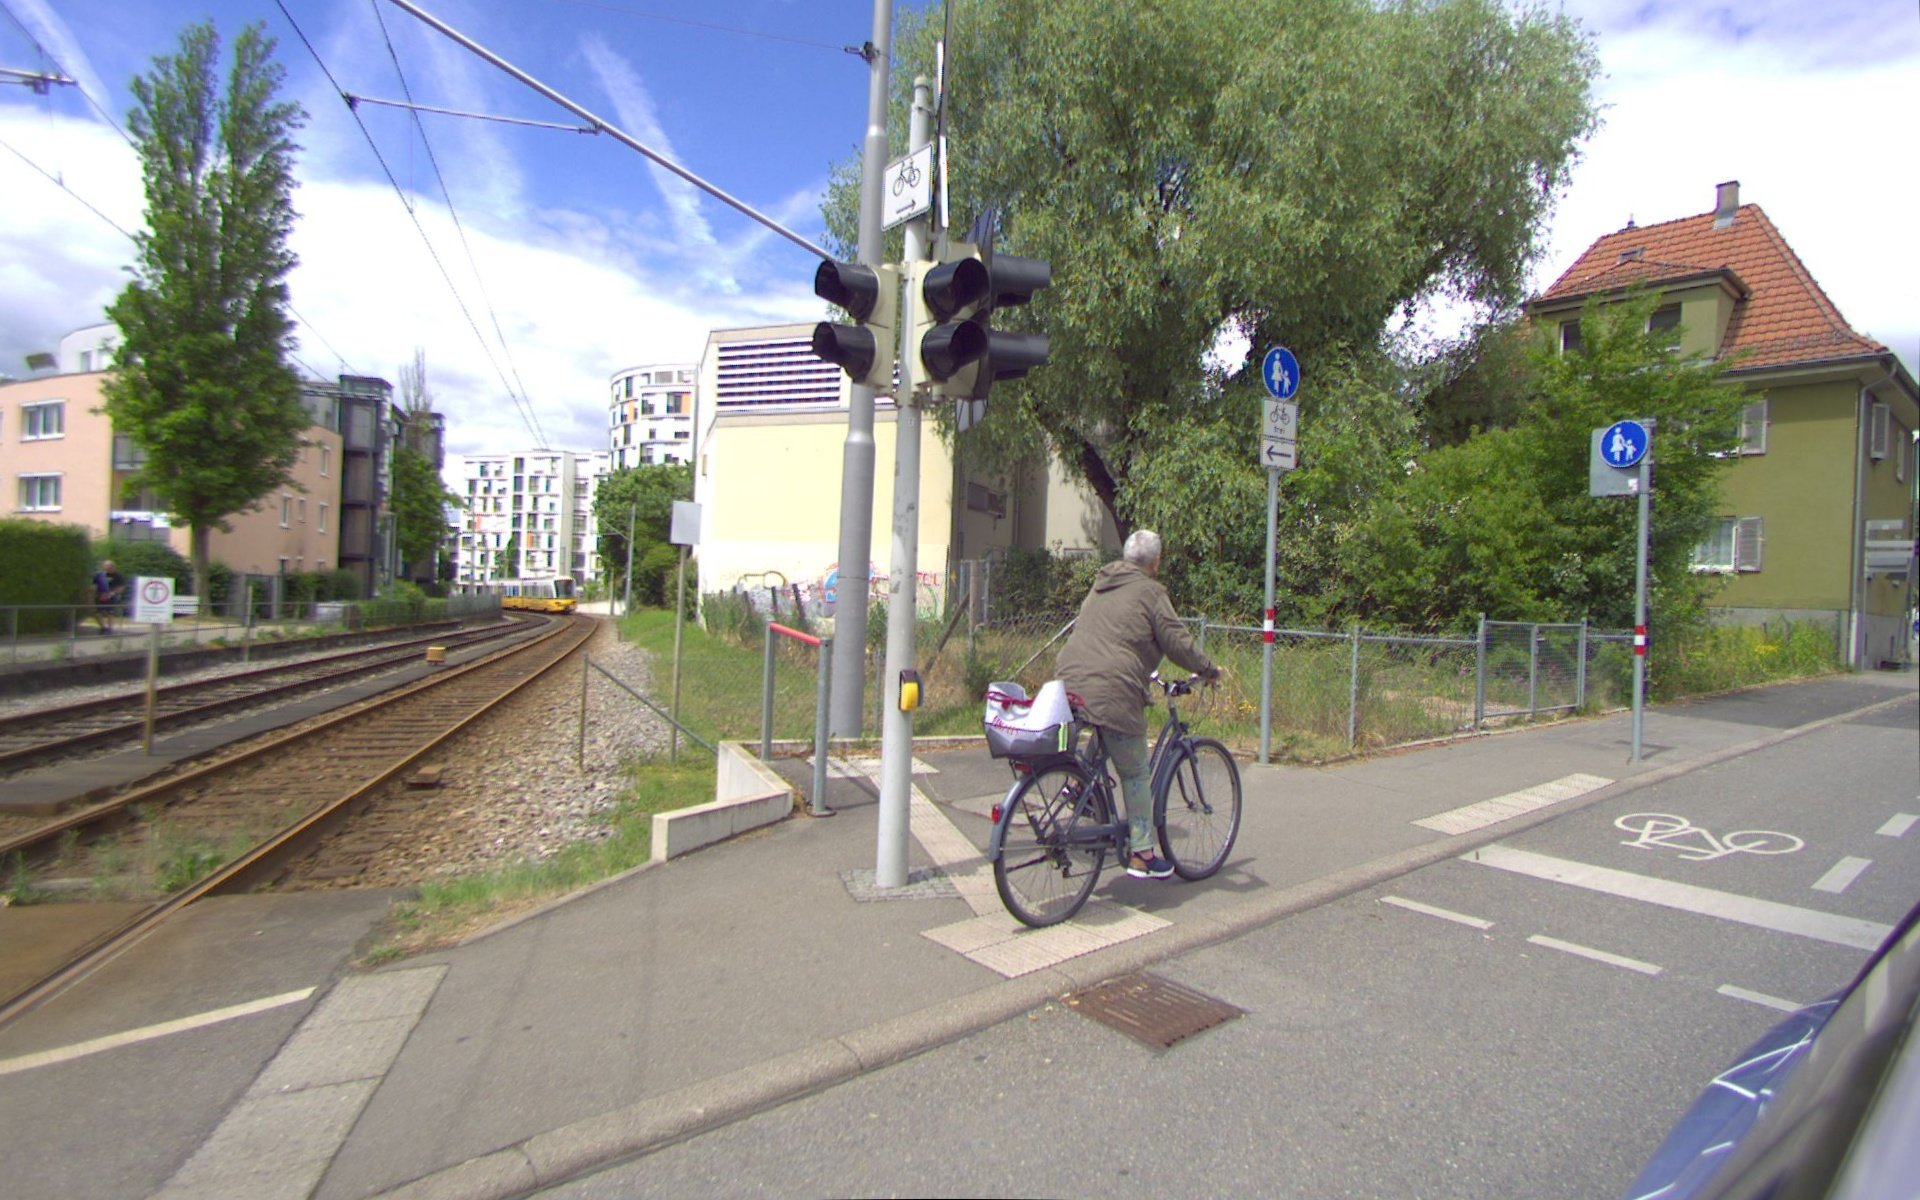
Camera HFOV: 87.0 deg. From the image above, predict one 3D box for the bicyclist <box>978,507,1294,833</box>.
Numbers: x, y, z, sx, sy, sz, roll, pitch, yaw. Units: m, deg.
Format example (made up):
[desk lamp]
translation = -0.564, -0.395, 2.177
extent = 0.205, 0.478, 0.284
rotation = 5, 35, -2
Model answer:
[bicyclist]
translation = 0.801, 0.252, 4.620
extent = 1.083, 1.263, 0.934
rotation = 0, 2, -40

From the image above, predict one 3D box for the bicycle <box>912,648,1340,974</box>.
[bicycle]
translation = 0.811, 0.813, 4.645
extent = 1.881, 1.053, 0.934
rotation = 0, 2, -40

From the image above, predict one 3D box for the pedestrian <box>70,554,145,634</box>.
[pedestrian]
translation = -18.774, -0.134, 22.317
extent = 0.913, 1.708, 0.921
rotation = 1, 0, -13
